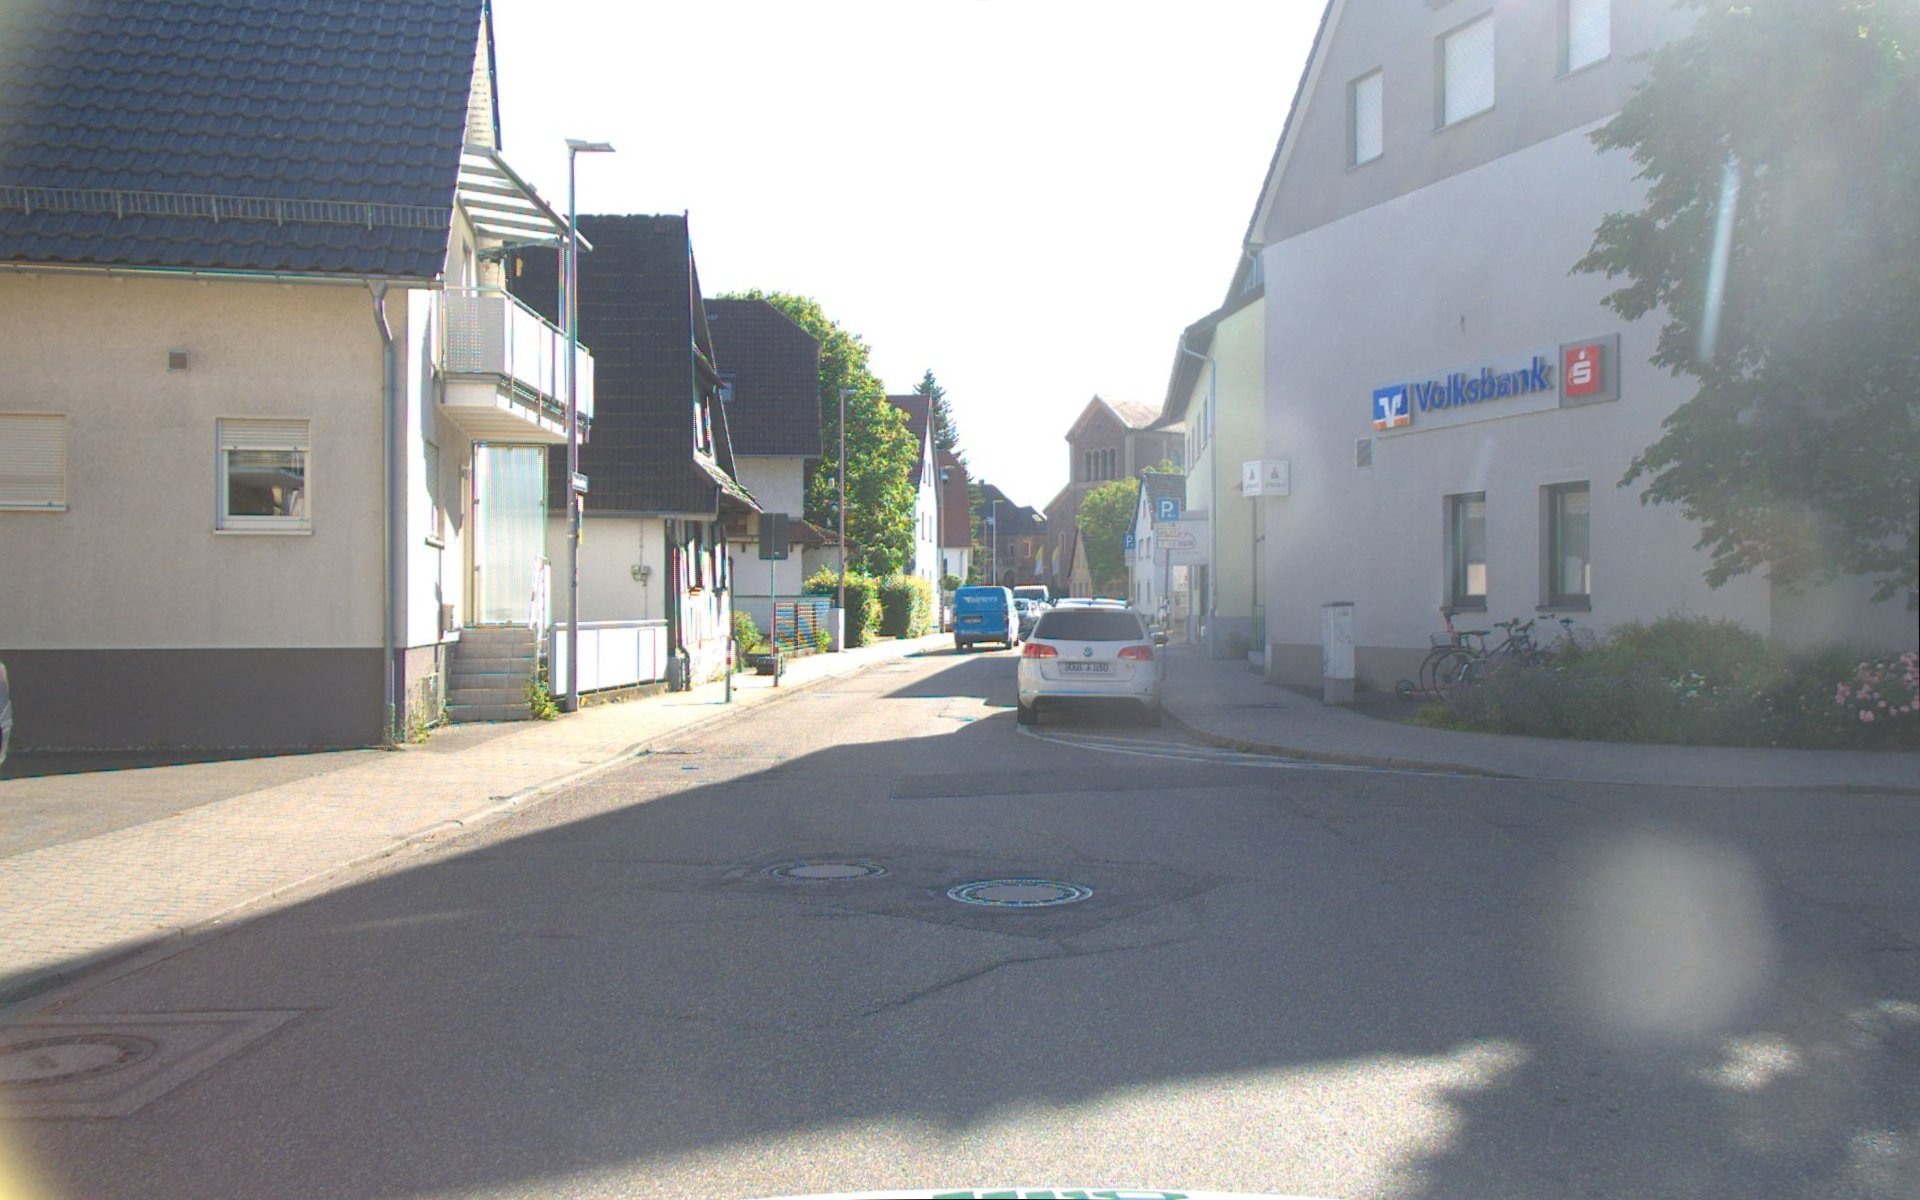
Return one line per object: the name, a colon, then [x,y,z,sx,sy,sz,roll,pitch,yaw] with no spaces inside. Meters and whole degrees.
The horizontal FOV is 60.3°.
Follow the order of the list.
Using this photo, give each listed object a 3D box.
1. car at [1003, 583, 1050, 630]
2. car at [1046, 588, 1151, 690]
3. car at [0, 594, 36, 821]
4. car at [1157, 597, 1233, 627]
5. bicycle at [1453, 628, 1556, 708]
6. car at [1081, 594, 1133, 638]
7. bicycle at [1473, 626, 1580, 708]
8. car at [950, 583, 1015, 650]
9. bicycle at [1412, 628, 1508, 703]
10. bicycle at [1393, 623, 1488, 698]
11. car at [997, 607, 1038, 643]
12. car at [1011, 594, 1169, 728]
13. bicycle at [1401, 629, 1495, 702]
car: [3.740,0.343,91.371,2.150,2.431,6.068,-2,0,6]
car: [2.240,0.599,27.538,1.576,1.547,3.973,1,0,3]
car: [-6.726,0.689,9.139,1.659,1.470,4.163,1,0,-12]
car: [12.530,0.645,88.163,3.829,1.518,1.848,-1,0,15]
bicycle: [6.596,0.818,20.052,1.139,0.936,0.313,-1,0,1]
car: [5.227,0.547,59.137,1.773,1.501,4.662,0,0,4]
bicycle: [6.665,0.785,19.465,1.139,0.936,0.313,-1,0,1]
car: [0.762,0.499,52.244,1.863,1.951,5.071,-2,0,2]
bicycle: [6.405,0.843,21.226,1.138,0.936,0.313,-1,0,11]
bicycle: [6.475,0.814,22.298,1.196,0.992,0.320,-1,0,17]
car: [2.796,1.169,79.965,1.678,1.626,3.928,-2,0,6]
car: [1.739,0.697,21.341,1.806,1.540,4.509,0,0,6]
bicycle: [6.384,0.861,21.657,1.138,0.936,0.313,-1,0,11]
